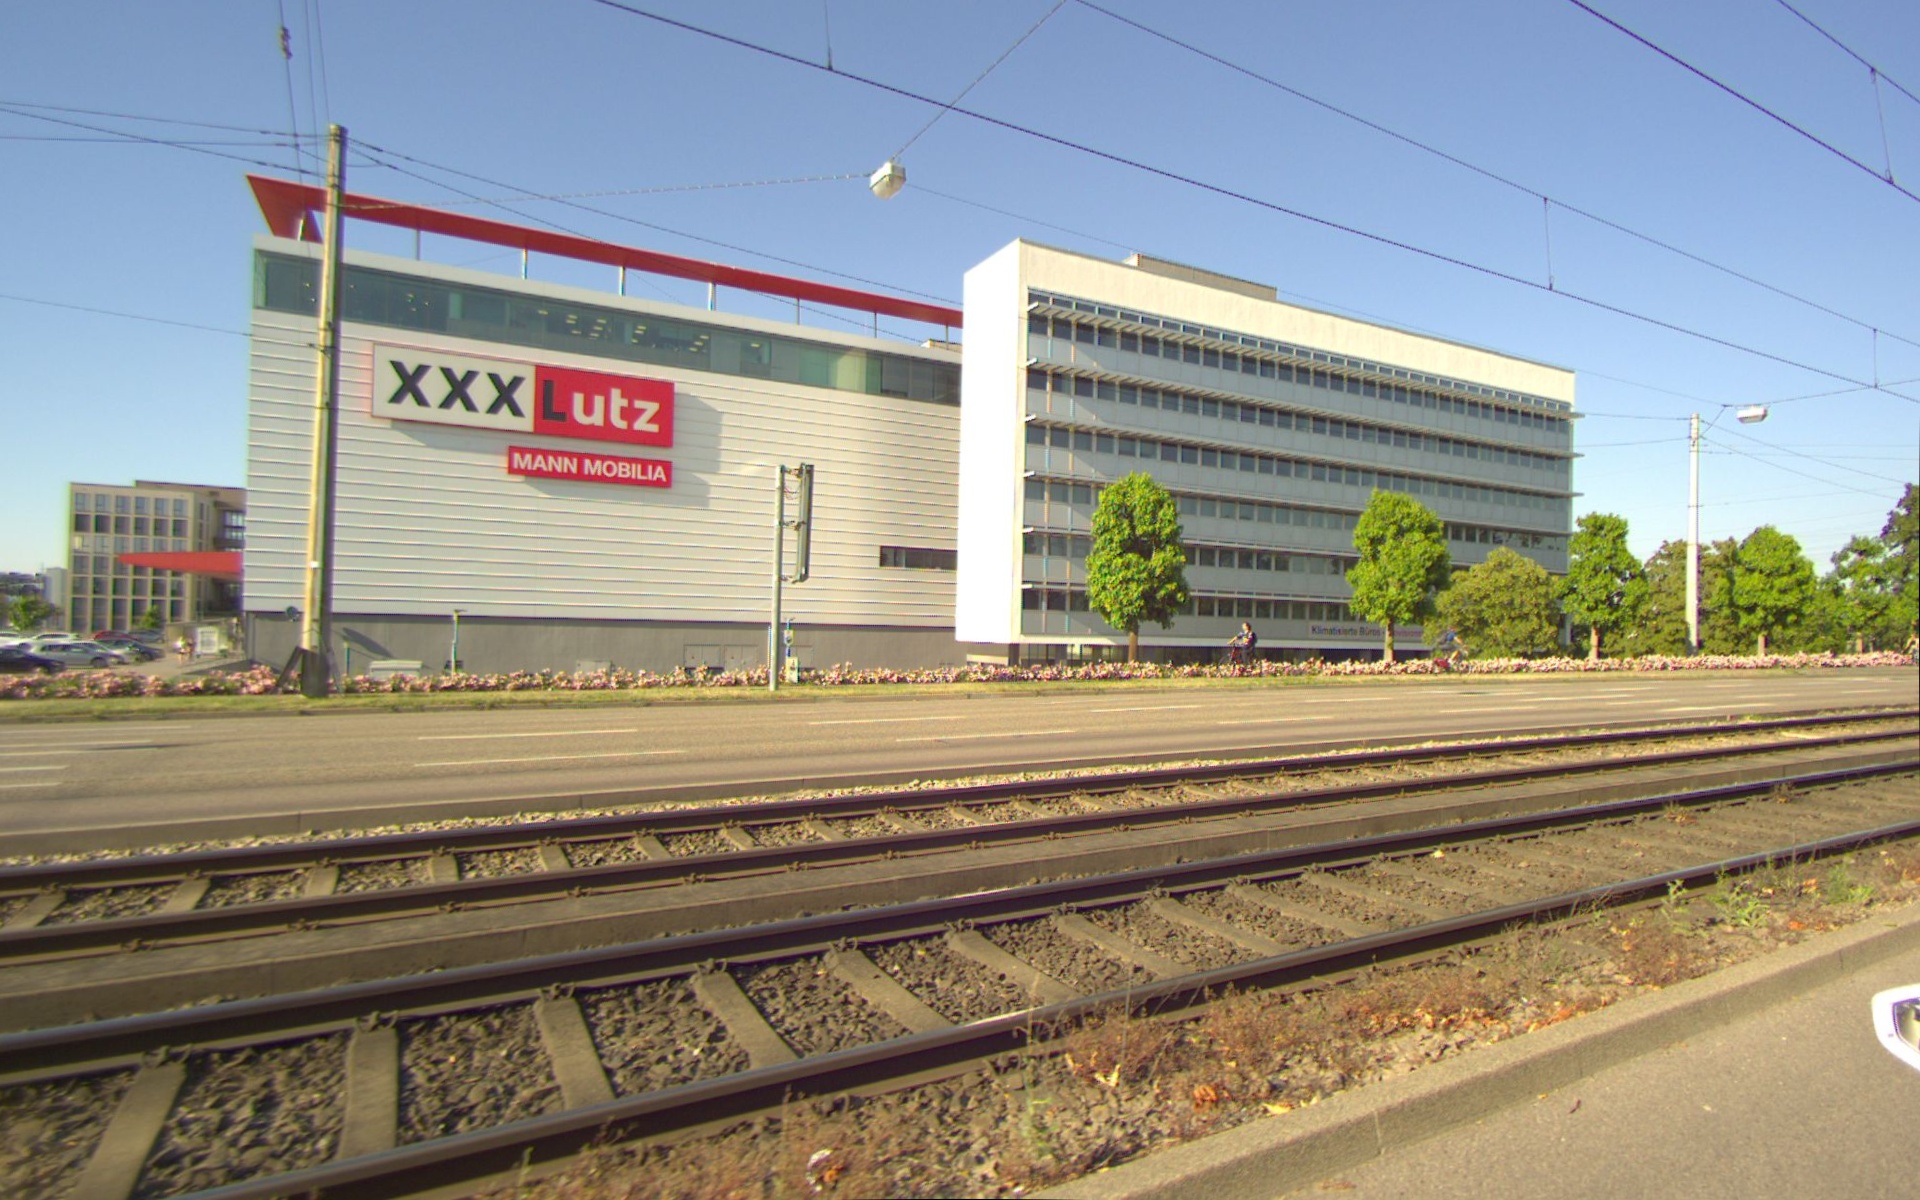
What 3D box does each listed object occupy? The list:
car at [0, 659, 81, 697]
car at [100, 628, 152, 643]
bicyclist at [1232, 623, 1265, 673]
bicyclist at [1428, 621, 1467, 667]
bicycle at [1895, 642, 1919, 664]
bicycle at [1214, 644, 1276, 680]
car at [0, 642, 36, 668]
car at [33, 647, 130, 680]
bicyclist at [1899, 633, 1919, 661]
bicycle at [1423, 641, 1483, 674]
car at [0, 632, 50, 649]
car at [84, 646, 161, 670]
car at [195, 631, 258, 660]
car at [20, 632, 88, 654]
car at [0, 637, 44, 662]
[{"bbox_3d":[-47.480,3.931,50.671,4.397,1.725,1.911,1,1,-31],"label":"car"},{"bbox_3d":[-83.119,3.565,100.133,3.617,1.387,1.648,1,1,-26],"label":"car"},{"bbox_3d":[9.795,1.621,34.100,0.789,1.645,0.660,1,1,-20],"label":"bicyclist"},{"bbox_3d":[16.834,1.525,34.702,0.956,1.533,0.703,1,1,-23],"label":"bicyclist"},{"bbox_3d":[49.504,2.776,52.367,1.683,1.073,0.622,1,1,-30],"label":"bicycle"},{"bbox_3d":[9.658,2.094,34.065,1.991,1.166,0.660,1,1,-21],"label":"bicycle"},{"bbox_3d":[-64.215,3.655,66.667,3.958,1.640,1.862,1,1,-33],"label":"car"},{"bbox_3d":[-51.148,3.672,58.586,3.954,1.725,1.911,1,1,-31],"label":"car"},{"bbox_3d":[49.537,2.431,52.360,0.869,1.392,0.622,1,2,-30],"label":"bicyclist"},{"bbox_3d":[17.088,1.991,34.826,1.998,1.088,0.703,1,1,-23],"label":"bicycle"},{"bbox_3d":[-85.773,3.662,91.470,3.949,1.468,1.866,1,1,-28],"label":"car"},{"bbox_3d":[-55.361,3.825,66.440,3.620,1.387,1.647,1,1,-28],"label":"car"},{"bbox_3d":[-50.397,3.102,69.072,3.248,1.880,1.500,1,1,-28],"label":"car"},{"bbox_3d":[-74.128,3.470,82.247,3.961,1.640,1.860,1,1,-36],"label":"car"},{"bbox_3d":[-67.530,3.479,70.890,3.958,1.640,1.862,1,1,-33],"label":"car"}]
